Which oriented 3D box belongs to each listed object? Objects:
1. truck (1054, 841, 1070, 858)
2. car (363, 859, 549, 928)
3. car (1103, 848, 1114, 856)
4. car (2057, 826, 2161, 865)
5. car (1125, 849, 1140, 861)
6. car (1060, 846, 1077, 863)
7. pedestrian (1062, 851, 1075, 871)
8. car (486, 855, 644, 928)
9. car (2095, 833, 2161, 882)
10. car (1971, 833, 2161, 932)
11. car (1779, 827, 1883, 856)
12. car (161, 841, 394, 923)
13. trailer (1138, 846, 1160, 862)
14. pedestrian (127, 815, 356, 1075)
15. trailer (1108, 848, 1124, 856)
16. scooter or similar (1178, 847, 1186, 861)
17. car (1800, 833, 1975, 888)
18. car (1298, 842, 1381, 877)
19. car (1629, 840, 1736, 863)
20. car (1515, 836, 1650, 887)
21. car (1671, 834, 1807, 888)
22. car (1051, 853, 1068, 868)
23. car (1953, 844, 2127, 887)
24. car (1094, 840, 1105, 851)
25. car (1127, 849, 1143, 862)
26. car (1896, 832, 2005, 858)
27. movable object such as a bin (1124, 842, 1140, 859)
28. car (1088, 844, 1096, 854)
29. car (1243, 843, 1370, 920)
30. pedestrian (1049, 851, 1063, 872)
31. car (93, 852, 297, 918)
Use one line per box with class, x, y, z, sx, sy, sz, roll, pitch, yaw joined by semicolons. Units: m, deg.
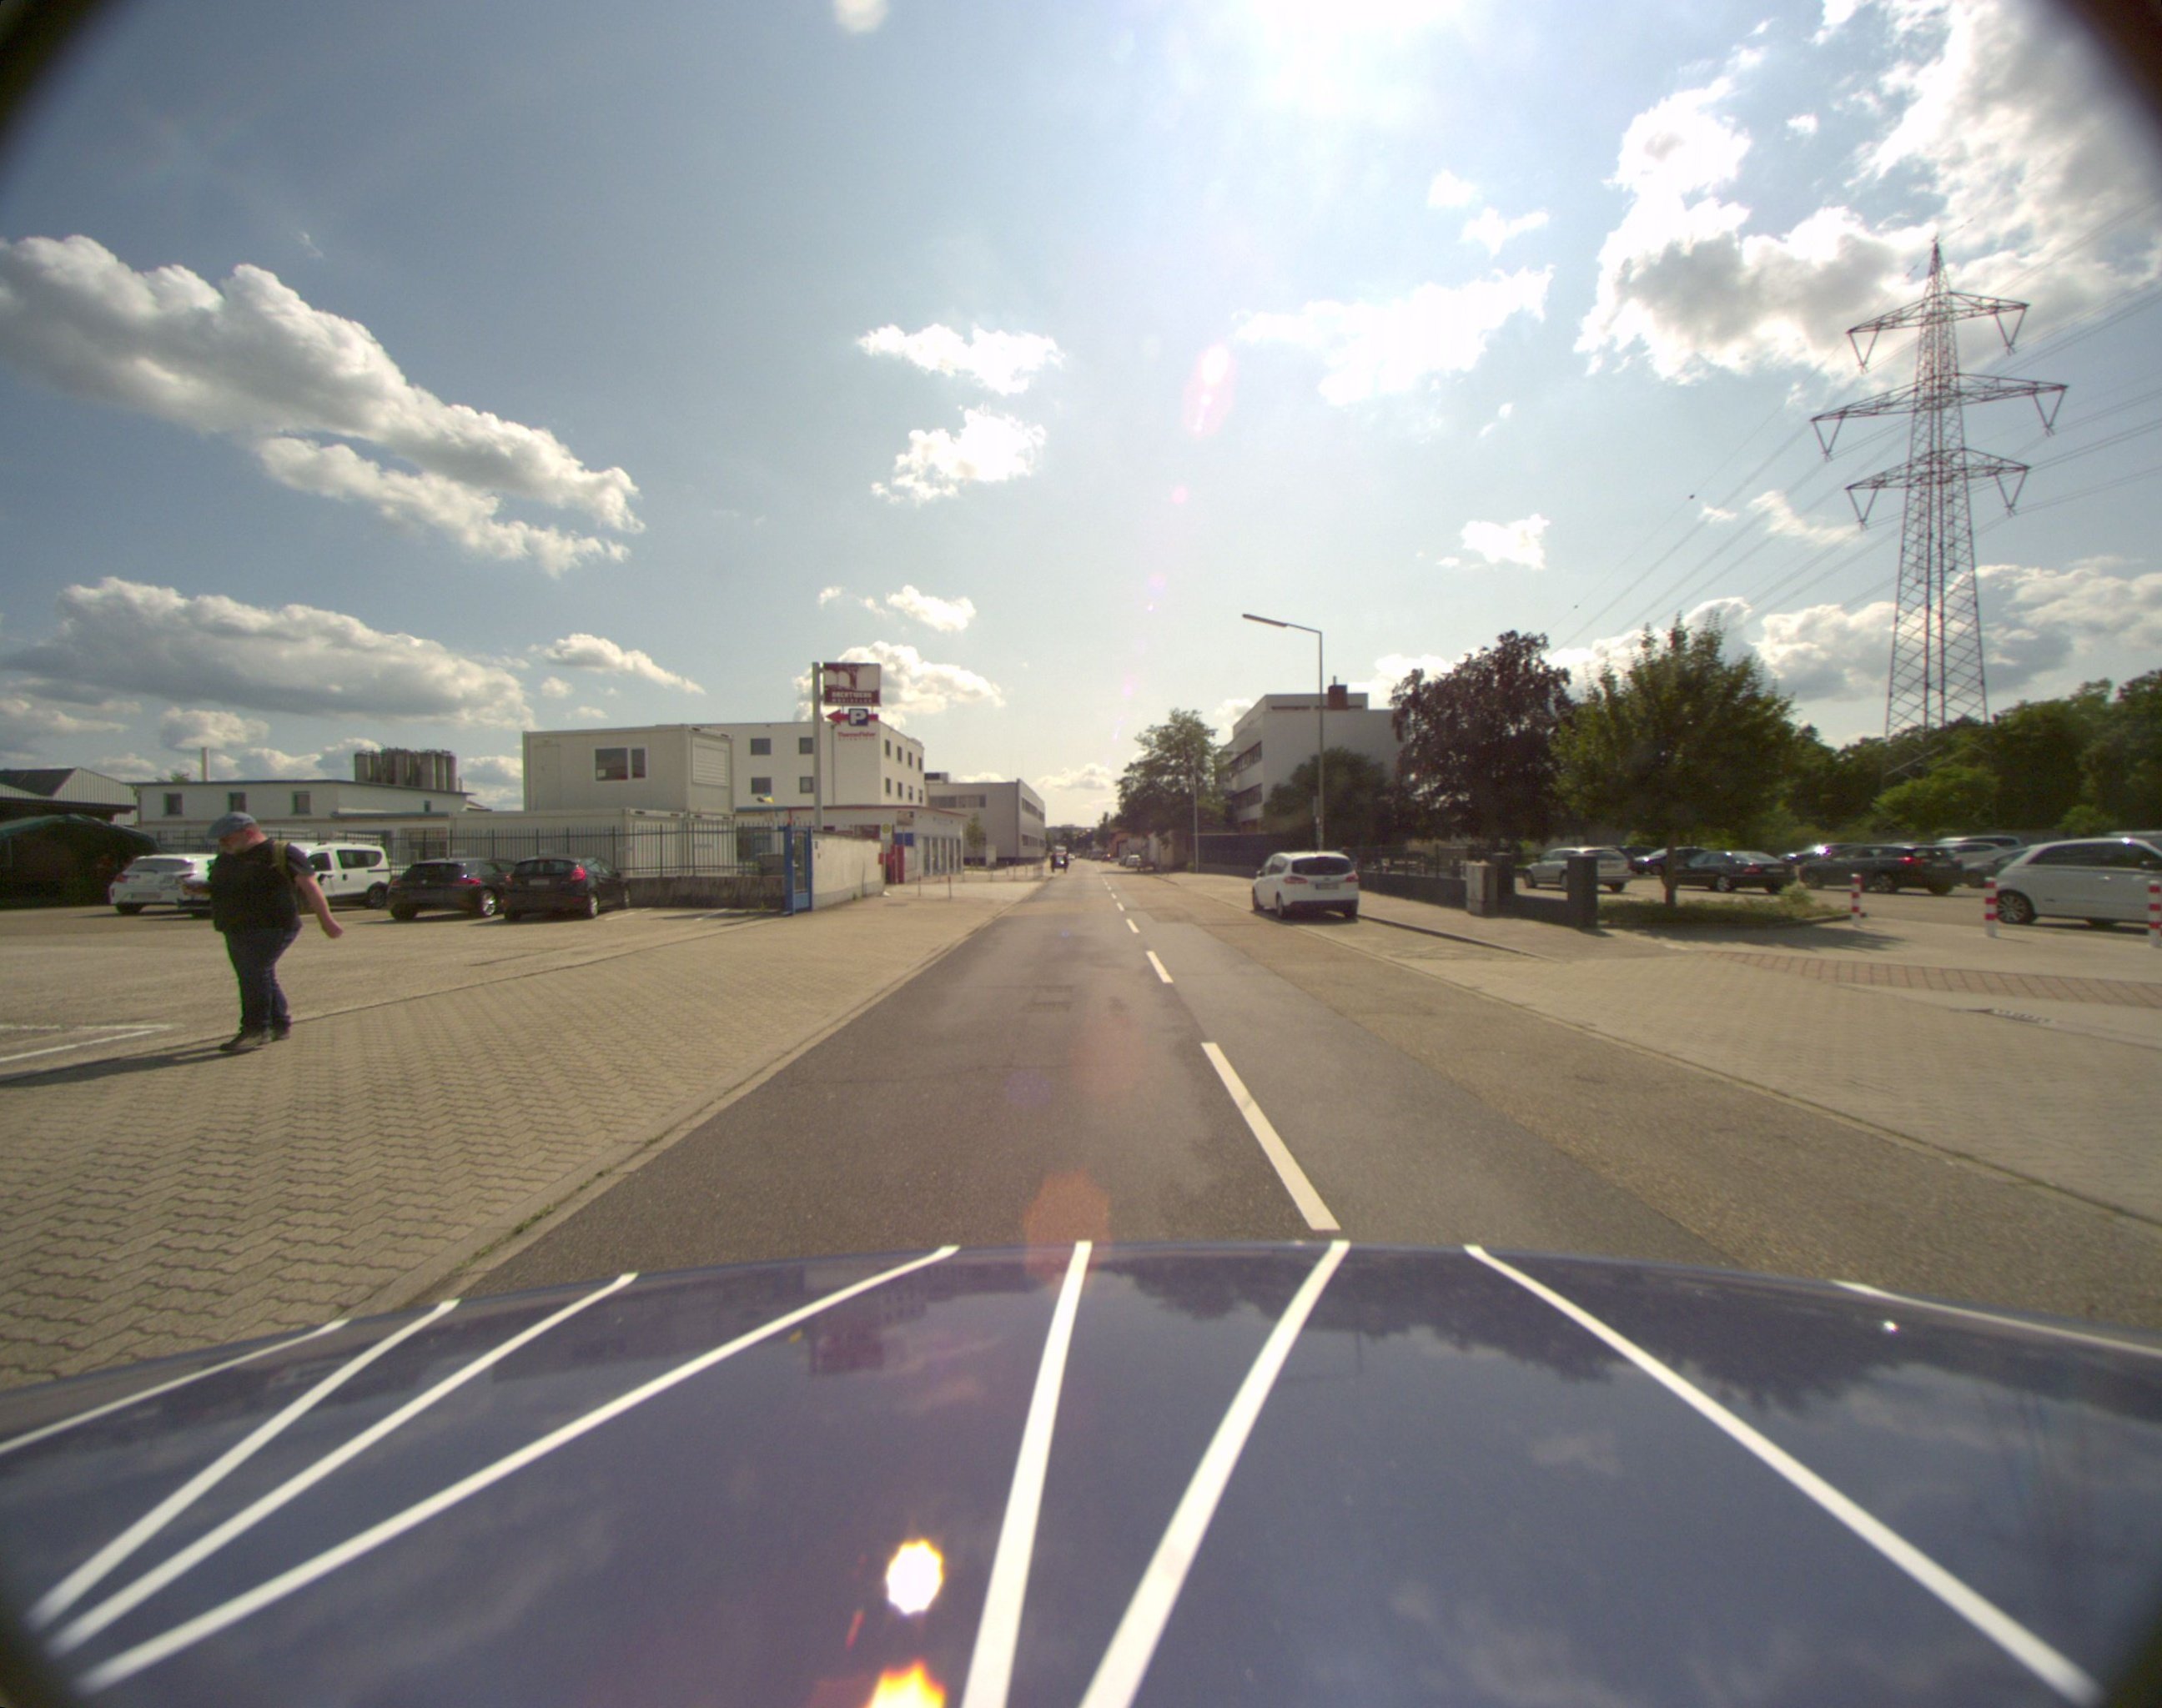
truck;-3.812;-0.857;152.474;2.608;3.207;8.073;-4;1;-4
car;-14.537;0.845;17.987;1.956;1.369;3.994;0;1;-16
car;5.497;-0.495;152.339;1.714;1.459;4.628;-4;1;-1
car;49.038;-0.405;35.538;3.774;1.775;1.990;0;1;11
car;7.032;0.137;104.173;1.677;1.447;4.223;-3;1;0
car;-1.581;0.086;95.666;1.877;1.881;4.451;-5;1;-1
pedestrian;-1.155;0.658;69.969;0.860;1.797;1.003;-1;1;-22
car;-11.872;0.771;17.807;1.746;1.433;3.828;-1;1;-13
car;36.486;0.120;24.652;1.653;1.608;3.997;-1;1;-7
car;17.396;0.420;12.206;1.877;1.498;3.758;-1;1;4
car;44.759;-0.751;45.424;4.207;1.653;1.838;0;1;7
car;-19.679;0.609;18.929;1.692;1.796;4.274;-1;1;-9
trailer;6.670;-0.036;75.083;1.771;1.431;4.335;-4;1;1
pedestrian;-6.031;0.613;5.514;0.771;1.746;0.787;1;1;0
trailer;6.119;-0.395;133.924;2.457;1.157;6.051;-3;1;0
scooter or similar;9.446;0.002;71.112;0.483;1.272;1.360;-4;1;1
car;27.355;0.178;25.994;1.876;1.698;4.068;-1;1;6
car;13.243;0.261;39.062;3.657;1.698;1.878;-1;1;0
car;32.629;-0.151;41.311;4.207;1.220;1.830;0;1;5
car;17.274;0.202;26.507;1.828;1.627;4.845;0;1;4
car;22.273;0.202;25.922;1.876;1.698;3.481;-1;1;7
car;-2.523;0.790;90.674;1.663;1.549;4.177;-4;1;1
car;31.676;0.347;25.282;1.539;1.314;3.764;0;1;11
car;4.414;-2.045;184.304;2.079;2.527;5.822;-4;1;-2
car;6.458;0.194;91.260;1.677;1.447;4.513;-3;1;1
car;43.216;-0.438;37.821;3.318;1.223;1.681;0;1;5
movable object such as a bin;6.433;-0.437;96.145;1.618;1.908;5.137;-5;1;0
car;2.994;-1.433;207.772;1.999;2.556;5.822;-4;1;-2
car;5.667;0.593;19.726;1.872;1.698;4.752;-2;1;0
pedestrian;-2.300;0.702;70.062;0.994;1.940;1.089;-1;1;-22
car;-22.852;0.726;19.840;1.558;1.513;3.993;-1;1;-18
